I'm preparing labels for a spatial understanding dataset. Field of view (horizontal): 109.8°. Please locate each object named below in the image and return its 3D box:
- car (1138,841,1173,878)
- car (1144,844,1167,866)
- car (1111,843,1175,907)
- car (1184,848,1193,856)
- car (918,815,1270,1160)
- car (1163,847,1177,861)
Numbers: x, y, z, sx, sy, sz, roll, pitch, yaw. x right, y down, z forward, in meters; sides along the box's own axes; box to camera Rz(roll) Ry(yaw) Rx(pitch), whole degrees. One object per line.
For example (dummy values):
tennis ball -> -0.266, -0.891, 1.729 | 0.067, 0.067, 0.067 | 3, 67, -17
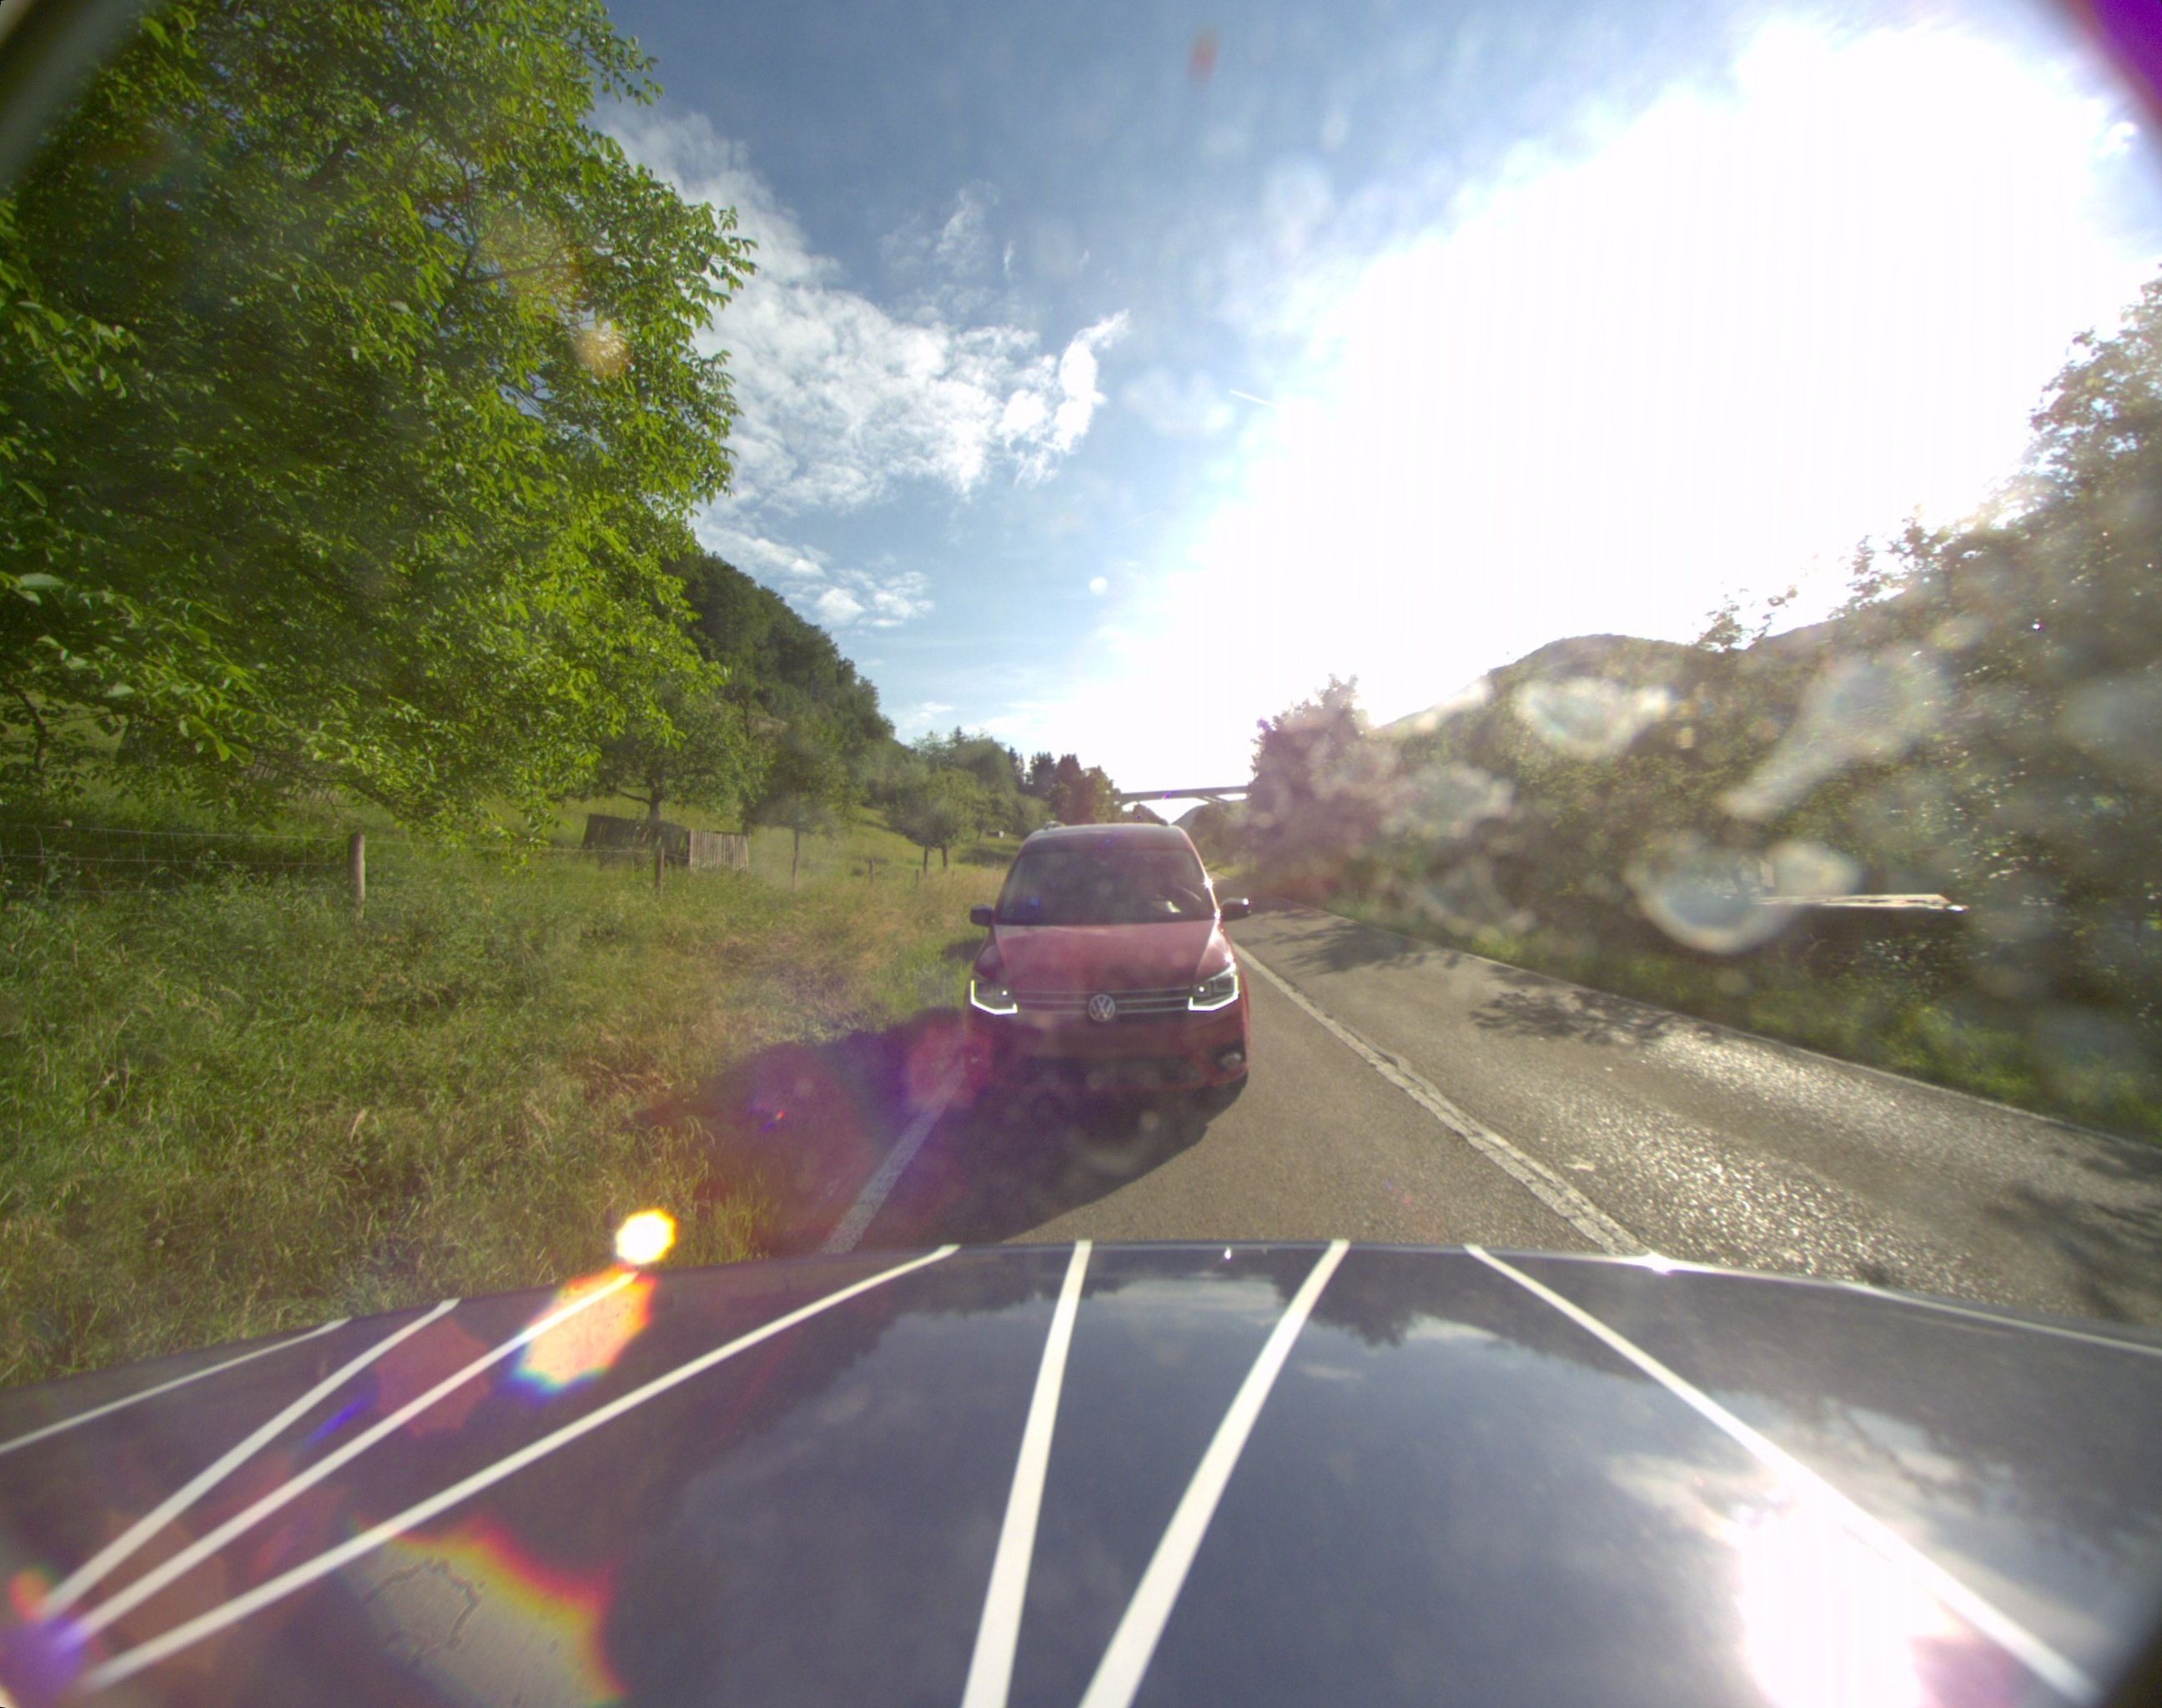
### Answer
car -> 4.171, 0.287, 42.702 | 1.758, 1.926, 4.001 | -2, 1, 5
car -> 7.080, 0.057, 72.270 | 1.998, 2.002, 4.000 | -2, 1, 4
car -> 1.910, 0.582, 23.575 | 1.758, 1.745, 4.001 | -2, 1, 5
car -> 20.040, -0.463, 141.196 | 1.597, 1.346, 4.205 | -2, 1, 9
car -> 0.208, 0.674, 6.140 | 1.759, 1.745, 4.430 | -2, 1, 4
car -> 13.620, -0.067, 116.781 | 1.998, 2.002, 4.001 | -2, 1, 6
